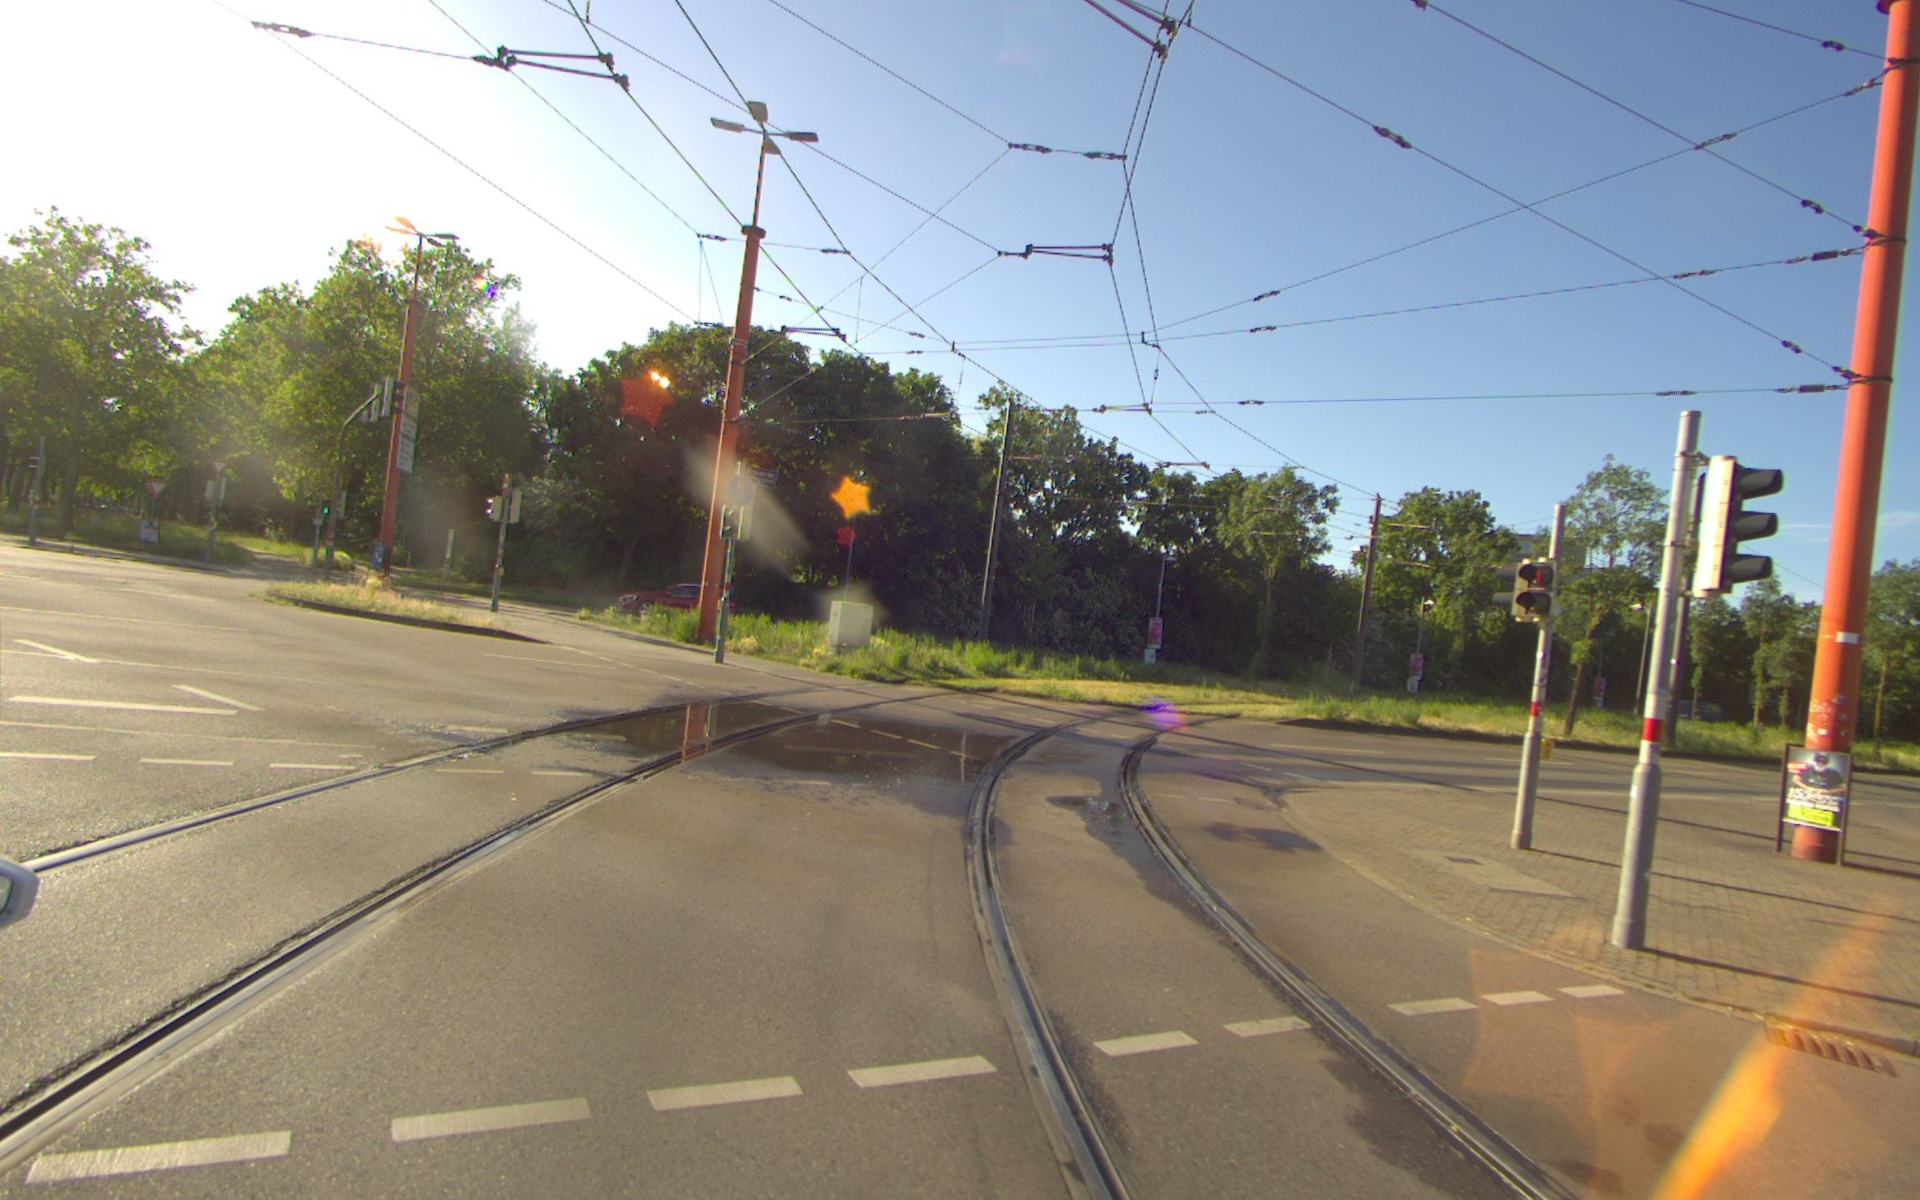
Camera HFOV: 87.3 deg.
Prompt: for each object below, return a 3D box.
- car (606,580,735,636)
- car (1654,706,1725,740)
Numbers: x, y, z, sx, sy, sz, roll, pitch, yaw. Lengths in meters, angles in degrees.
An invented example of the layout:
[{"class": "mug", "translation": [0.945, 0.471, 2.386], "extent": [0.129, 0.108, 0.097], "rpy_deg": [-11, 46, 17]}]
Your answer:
[{"class": "car", "translation": [-10.824, 0.293, 37.620], "extent": [4.239, 1.513, 1.987], "rpy_deg": [8, -1, -28]}, {"class": "car", "translation": [50.421, 8.517, 69.533], "extent": [4.762, 1.752, 1.987], "rpy_deg": [8, -1, -28]}]
